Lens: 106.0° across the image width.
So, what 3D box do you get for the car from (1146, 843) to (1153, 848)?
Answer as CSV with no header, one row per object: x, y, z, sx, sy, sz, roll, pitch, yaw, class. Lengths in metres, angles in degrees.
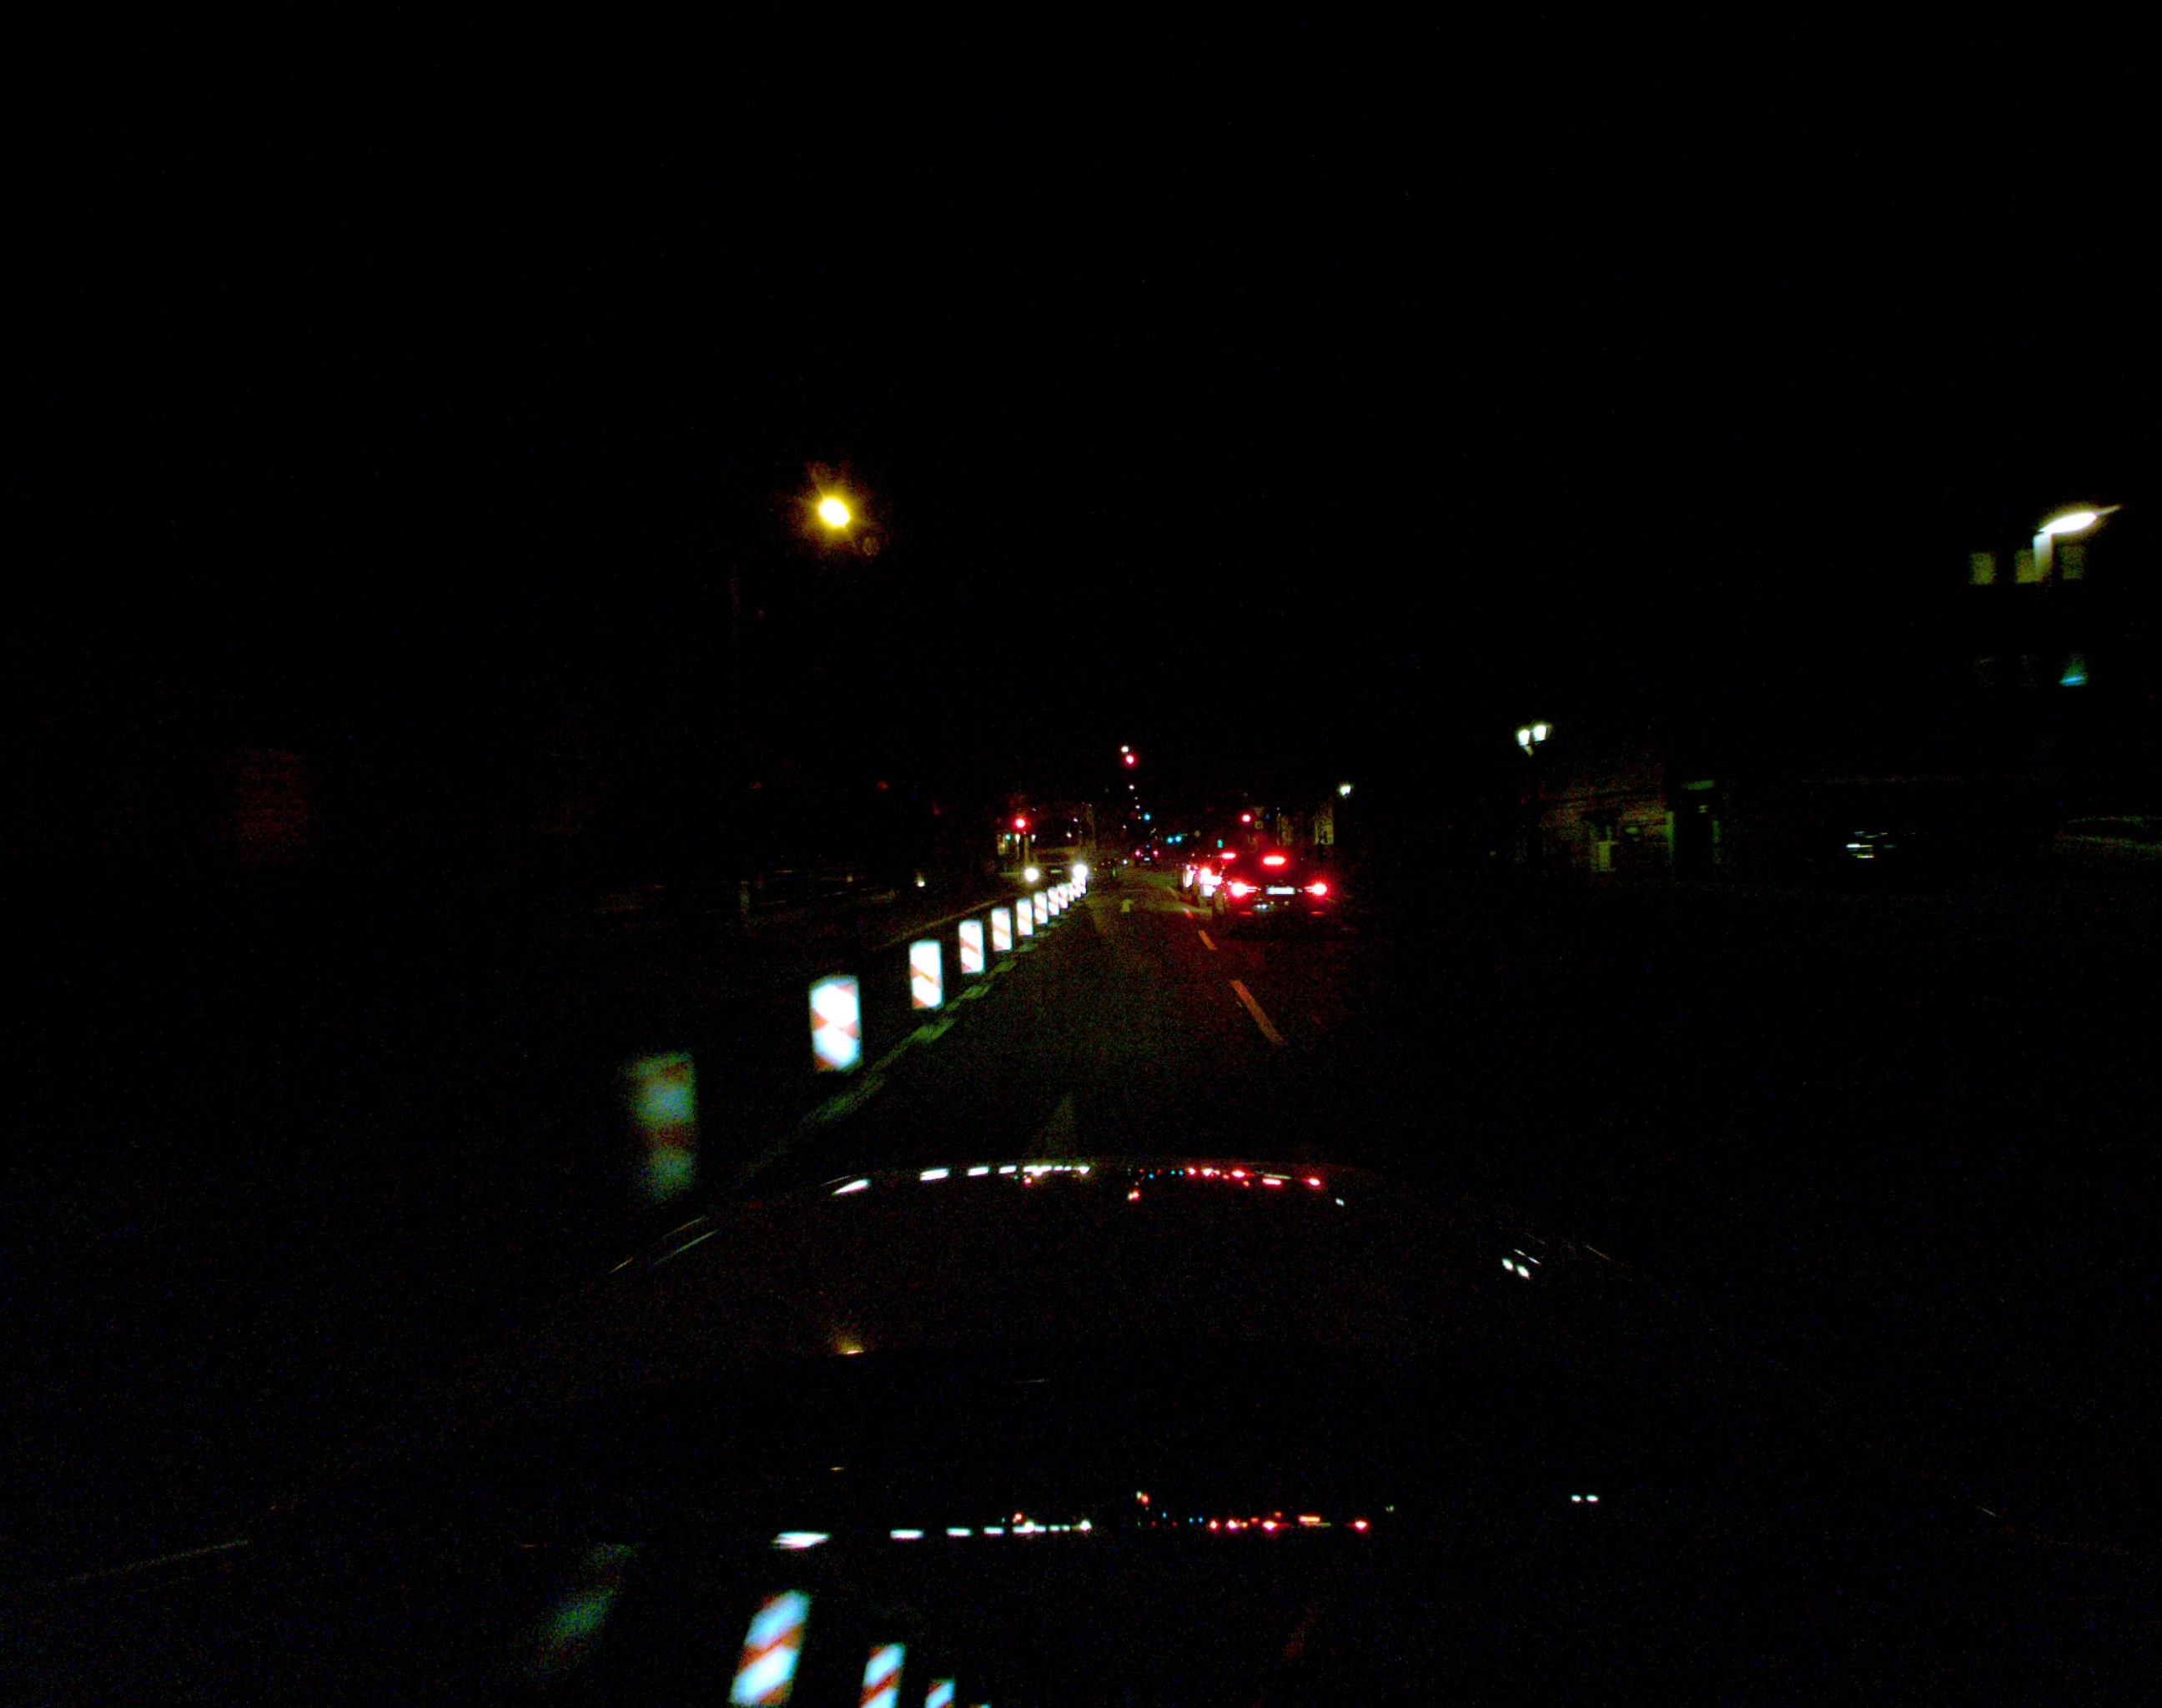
21.275,-2.576,252.165,1.986,1.596,4.002,-2,0,2,car

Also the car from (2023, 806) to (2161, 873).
25.812,-0.376,19.622,1.773,1.533,4.006,-2,0,5,car

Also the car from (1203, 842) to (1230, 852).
20.679,-1.073,124.143,3.966,1.386,1.775,-3,0,7,car

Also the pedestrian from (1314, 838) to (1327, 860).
19.913,-0.422,67.714,0.735,1.769,0.908,-3,0,4,pedestrian

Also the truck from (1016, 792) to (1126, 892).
-0.125,-0.514,36.356,2.737,3.717,10.144,-3,0,11,truck

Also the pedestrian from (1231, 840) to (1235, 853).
23.753,-1.099,127.079,0.529,2.013,0.670,-2,0,3,pedestrian

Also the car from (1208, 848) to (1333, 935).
3.624,0.637,16.372,1.796,1.494,4.736,0,0,5,car

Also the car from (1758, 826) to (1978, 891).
19.517,0.090,20.508,1.505,1.395,4.489,-2,0,6,car

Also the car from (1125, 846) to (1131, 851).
13.717,-1.647,237.972,1.770,1.390,4.003,-3,0,2,car

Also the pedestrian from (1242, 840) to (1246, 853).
25.390,-1.129,126.896,0.485,2.013,0.551,-2,0,3,pedestrian

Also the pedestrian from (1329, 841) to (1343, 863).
21.221,-0.152,67.754,0.897,1.769,0.908,-3,0,4,pedestrian

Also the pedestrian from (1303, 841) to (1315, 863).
18.877,-0.192,67.503,0.711,1.769,0.908,-3,0,4,pedestrian

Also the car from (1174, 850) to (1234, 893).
4.343,0.580,29.309,1.722,1.435,4.214,0,0,3,car

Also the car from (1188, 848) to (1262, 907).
3.929,0.582,22.709,1.630,1.494,4.004,0,0,4,car

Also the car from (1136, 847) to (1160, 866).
6.024,0.208,73.587,1.985,1.640,4.003,-2,0,3,car
